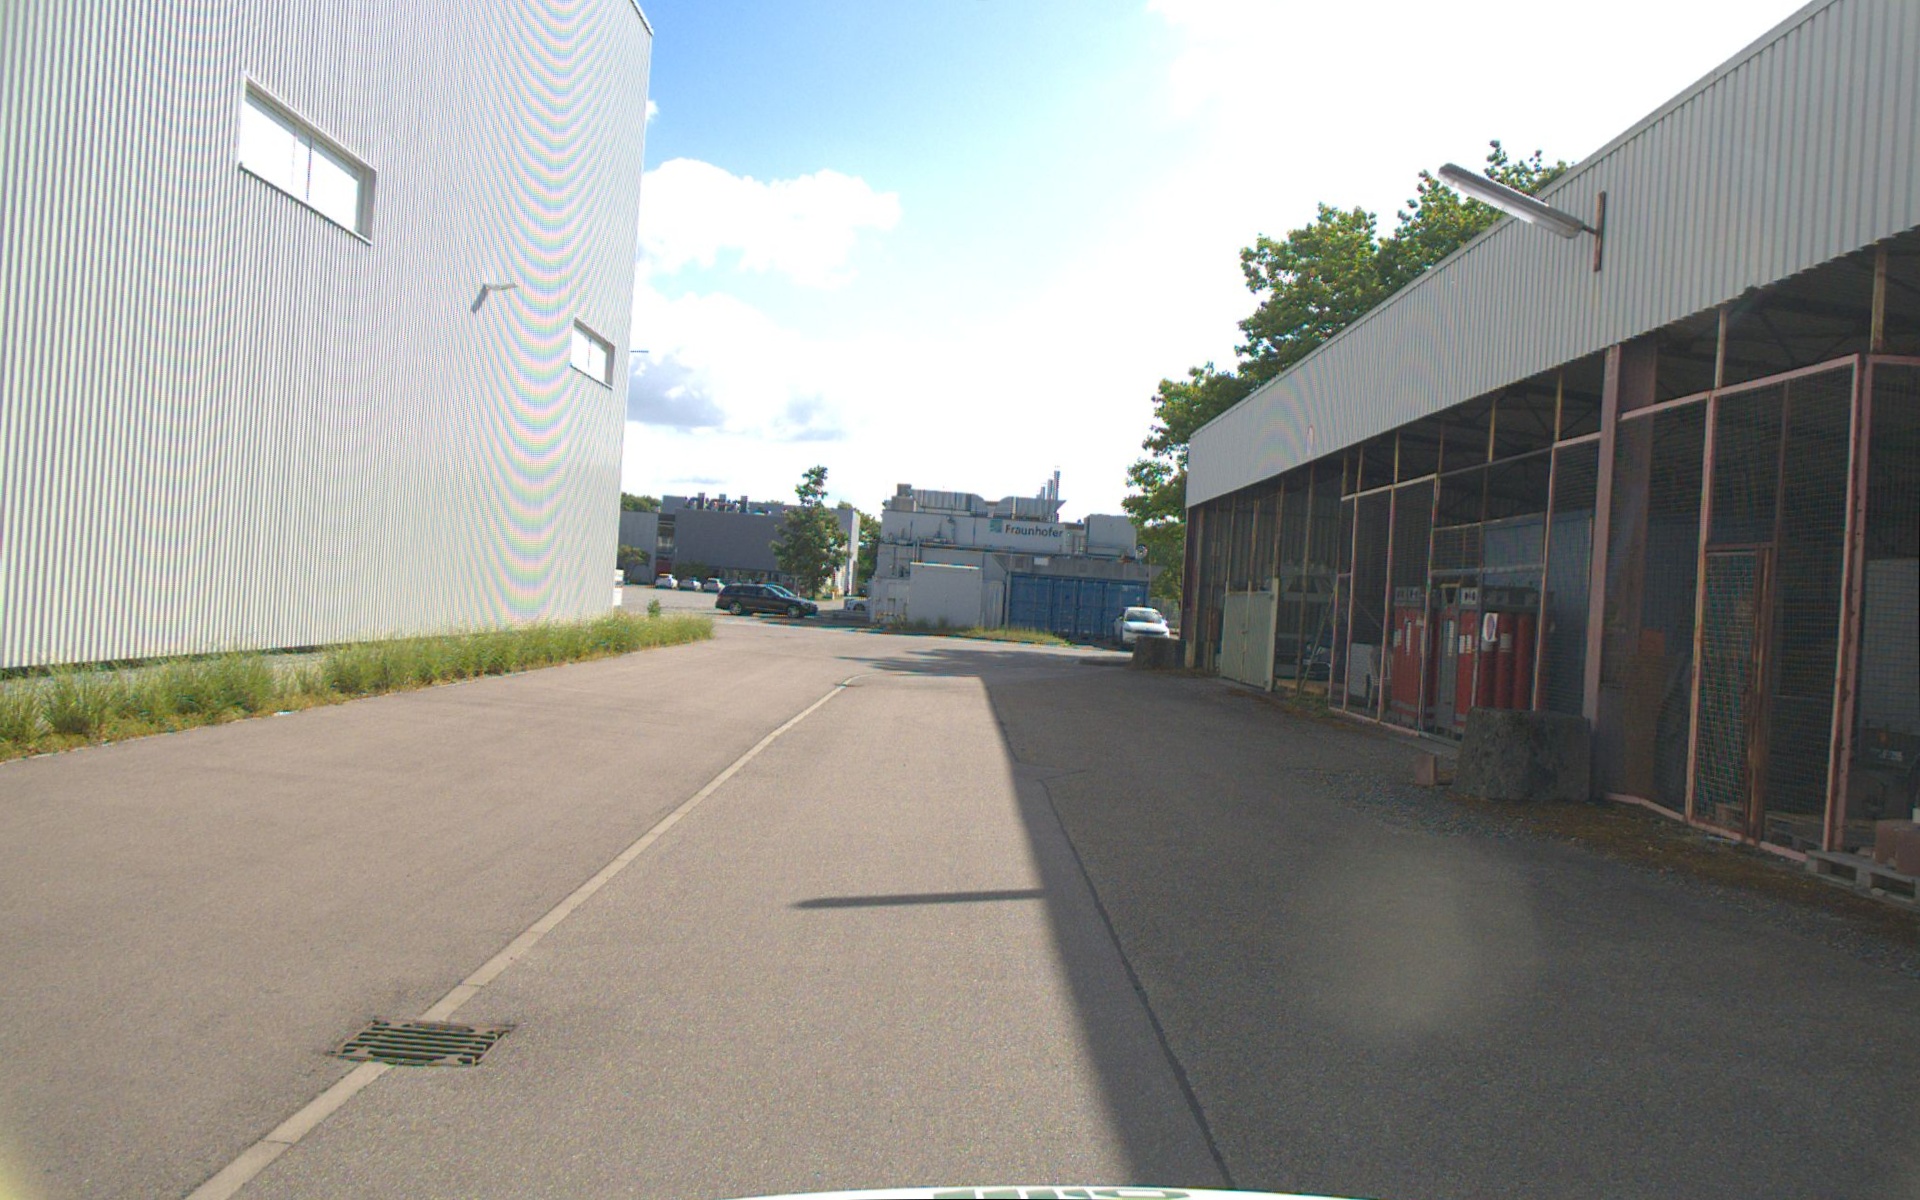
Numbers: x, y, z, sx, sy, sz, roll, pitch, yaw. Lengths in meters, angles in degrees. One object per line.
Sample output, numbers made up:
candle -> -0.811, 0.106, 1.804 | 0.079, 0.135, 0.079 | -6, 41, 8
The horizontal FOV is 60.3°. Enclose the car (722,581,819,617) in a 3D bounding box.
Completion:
car -> -9.282, -0.069, 81.298 | 4.433, 1.534, 1.909 | 3, 0, 1

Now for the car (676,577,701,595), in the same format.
car -> -28.665, -1.502, 174.602 | 1.953, 1.766, 3.999 | 2, 0, -1

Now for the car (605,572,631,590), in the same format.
car -> -36.032, -1.955, 174.363 | 1.953, 1.766, 3.999 | 2, 0, -1

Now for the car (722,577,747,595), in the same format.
car -> -23.619, -1.412, 173.299 | 2.149, 1.766, 3.999 | 2, 0, -1

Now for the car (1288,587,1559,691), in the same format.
car -> 9.815, 0.806, 35.258 | 5.136, 1.909, 1.997 | 3, 0, -6

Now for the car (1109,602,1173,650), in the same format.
car -> 7.128, 0.988, 65.511 | 1.953, 1.613, 4.172 | 3, 2, -1

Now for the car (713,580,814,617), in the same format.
car -> -9.229, -0.082, 78.061 | 4.433, 1.534, 1.909 | 3, 0, 1

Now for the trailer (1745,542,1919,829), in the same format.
trailer -> 7.931, 0.659, 12.569 | 1.818, 2.094, 4.098 | 3, 0, -2

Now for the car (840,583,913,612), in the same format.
car -> -5.326, -0.162, 105.708 | 4.433, 1.534, 1.909 | 3, 0, 0

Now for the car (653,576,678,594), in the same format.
car -> -31.113, -1.577, 174.922 | 1.953, 1.766, 3.999 | 2, 0, -1

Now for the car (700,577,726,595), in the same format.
car -> -26.134, -1.452, 174.978 | 2.149, 1.766, 3.999 | 2, 0, -1
